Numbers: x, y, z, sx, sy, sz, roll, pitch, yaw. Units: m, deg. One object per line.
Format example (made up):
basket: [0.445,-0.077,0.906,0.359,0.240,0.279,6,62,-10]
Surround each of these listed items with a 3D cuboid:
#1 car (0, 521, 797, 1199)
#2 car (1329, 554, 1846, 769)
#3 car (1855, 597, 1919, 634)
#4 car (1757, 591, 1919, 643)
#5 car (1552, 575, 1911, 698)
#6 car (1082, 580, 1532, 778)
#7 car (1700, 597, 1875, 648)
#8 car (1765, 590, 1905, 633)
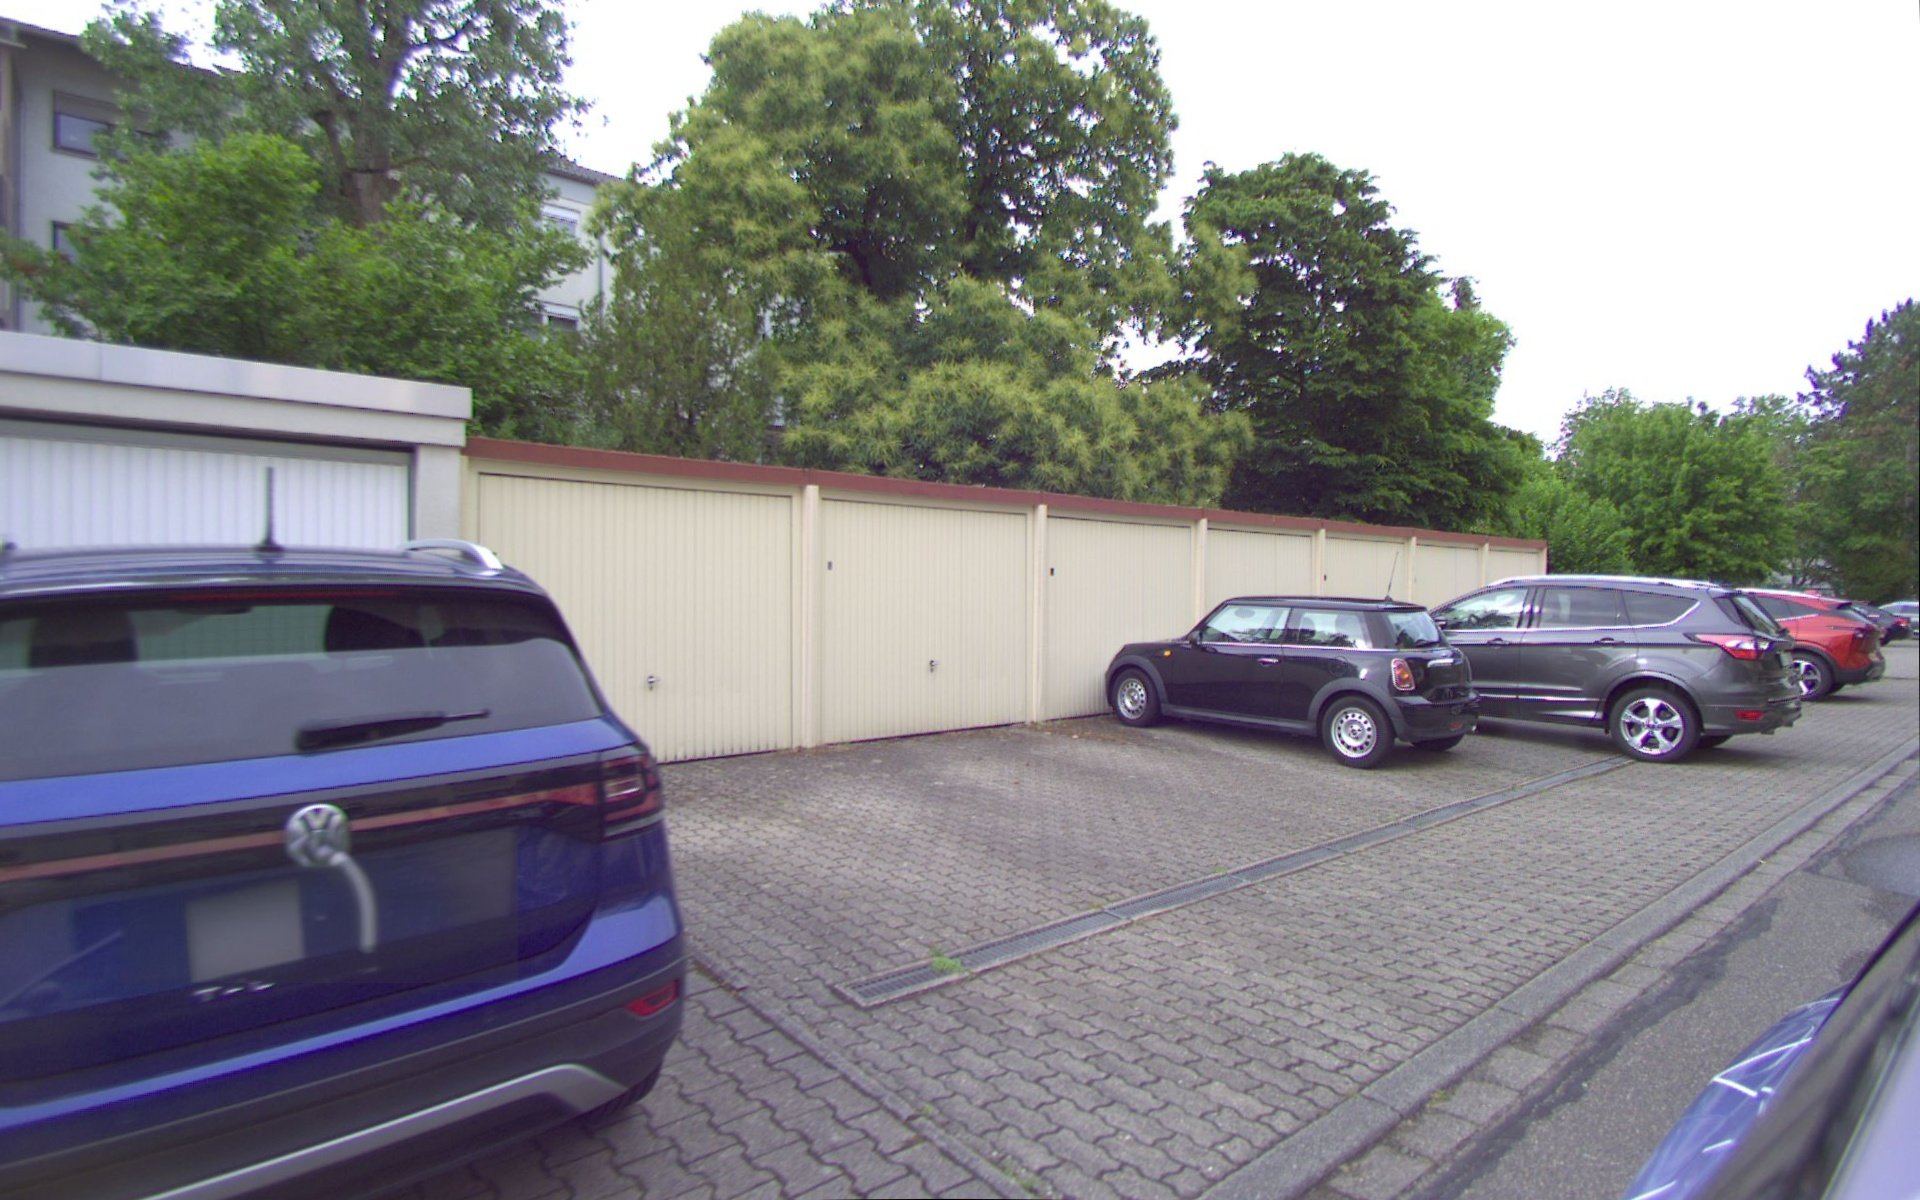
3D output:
car: [-2.451,0.654,3.389,1.965,1.724,3.995,0,2,-40]
car: [6.368,0.442,10.668,1.965,1.748,4.204,0,2,-40]
car: [39.595,0.614,41.542,1.756,1.504,4.100,0,0,-41]
car: [31.027,0.533,35.637,1.756,1.503,4.335,0,3,-40]
car: [12.324,0.472,16.402,1.901,1.605,4.297,0,2,-41]
car: [3.284,0.598,10.107,1.965,1.463,3.765,0,2,-40]
car: [25.202,0.627,30.913,1.702,1.453,3.970,0,0,-42]
car: [36.207,0.446,41.945,1.756,1.503,4.104,0,3,-40]
